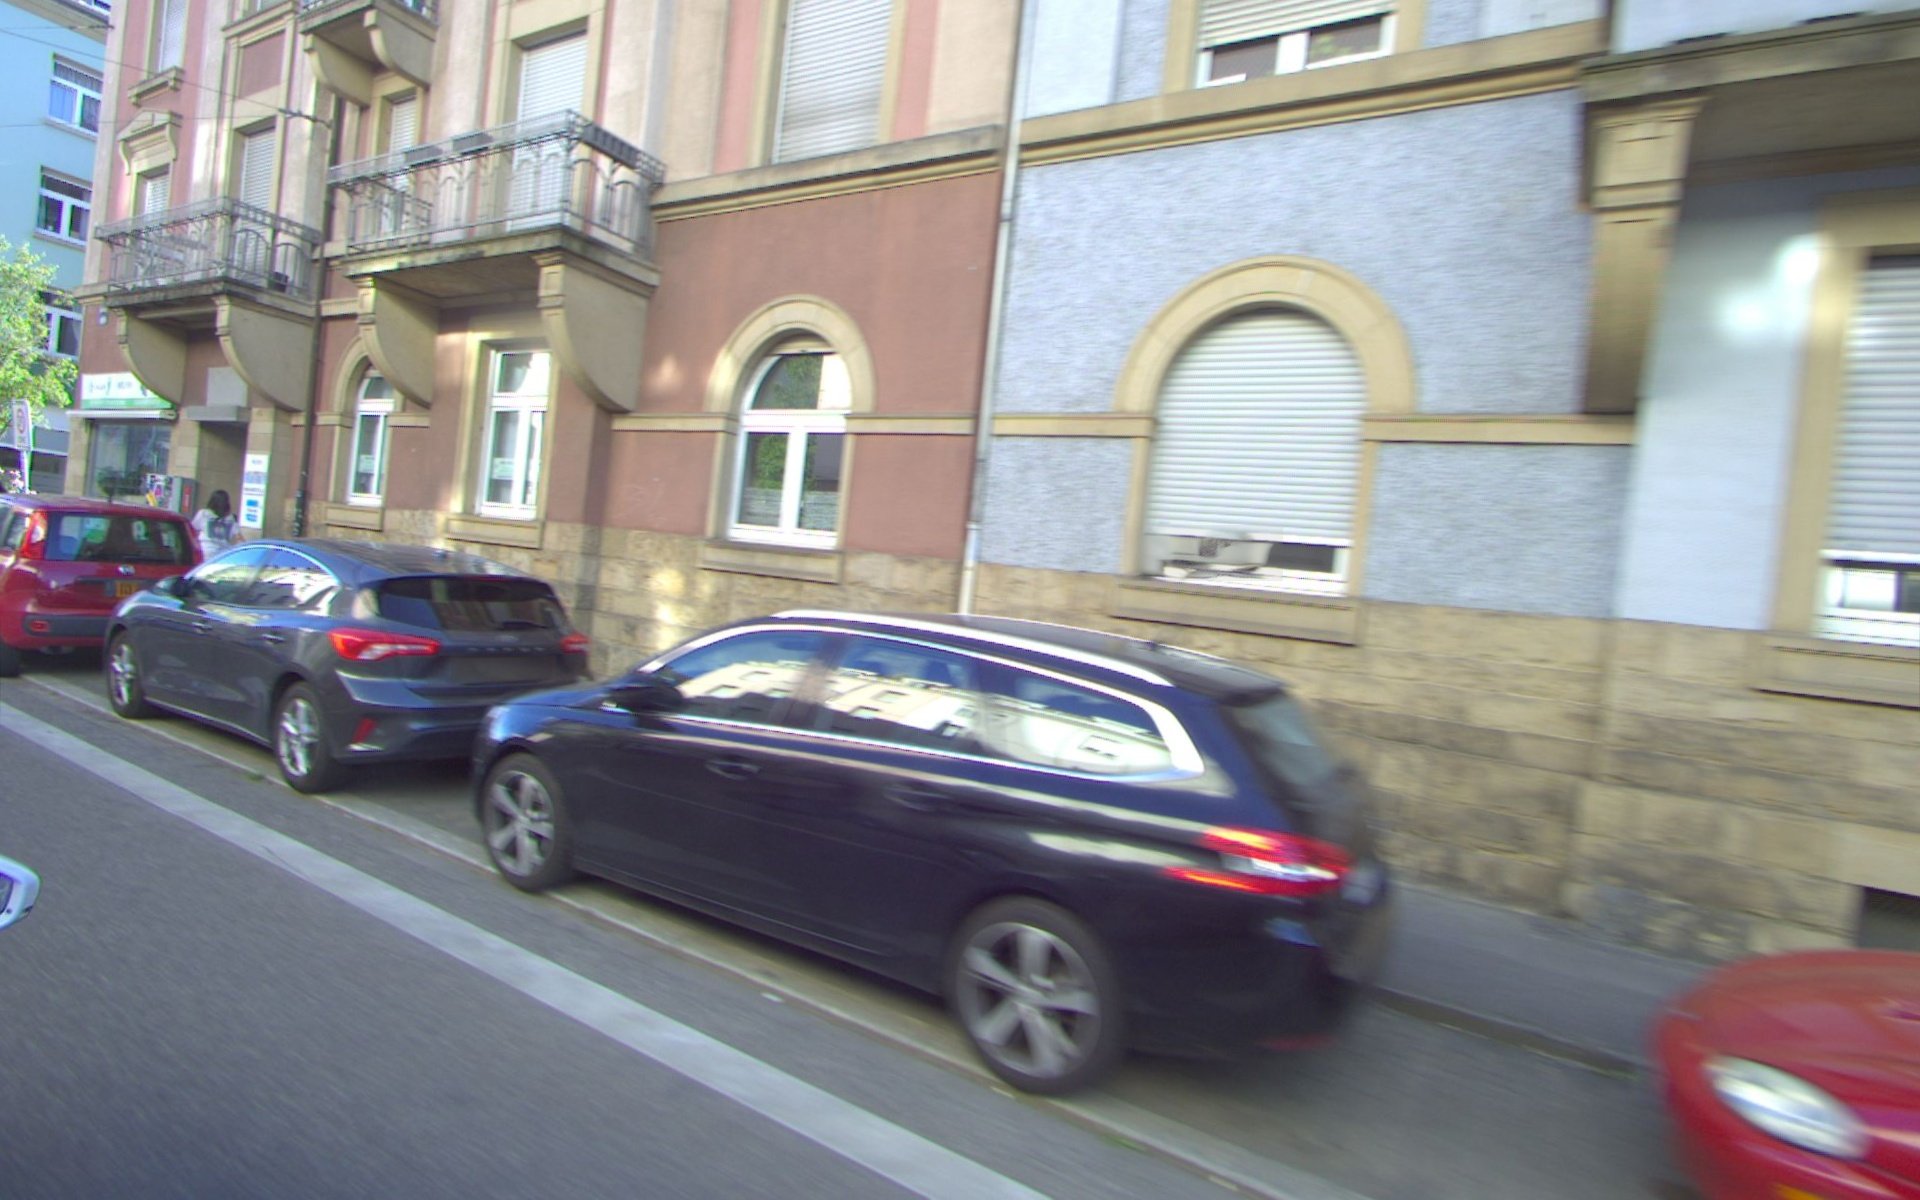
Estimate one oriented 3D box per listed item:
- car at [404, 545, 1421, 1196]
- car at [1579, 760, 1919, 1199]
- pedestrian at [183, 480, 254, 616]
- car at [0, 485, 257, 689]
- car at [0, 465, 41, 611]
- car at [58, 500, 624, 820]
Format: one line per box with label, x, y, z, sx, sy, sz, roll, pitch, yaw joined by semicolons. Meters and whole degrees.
car;-0.442;0.741;4.640;4.399;1.502;1.656;7;1;31
car;3.834;1.401;1.888;4.433;1.265;1.654;7;1;35
pedestrian;-9.665;-0.669;13.118;0.440;1.709;0.513;7;2;31
car;-8.630;-0.224;9.679;3.669;1.614;1.754;7;1;33
car;-13.672;-0.956;12.871;4.432;1.760;1.752;7;4;33
car;-4.639;0.261;7.312;4.400;1.532;1.655;7;1;32
